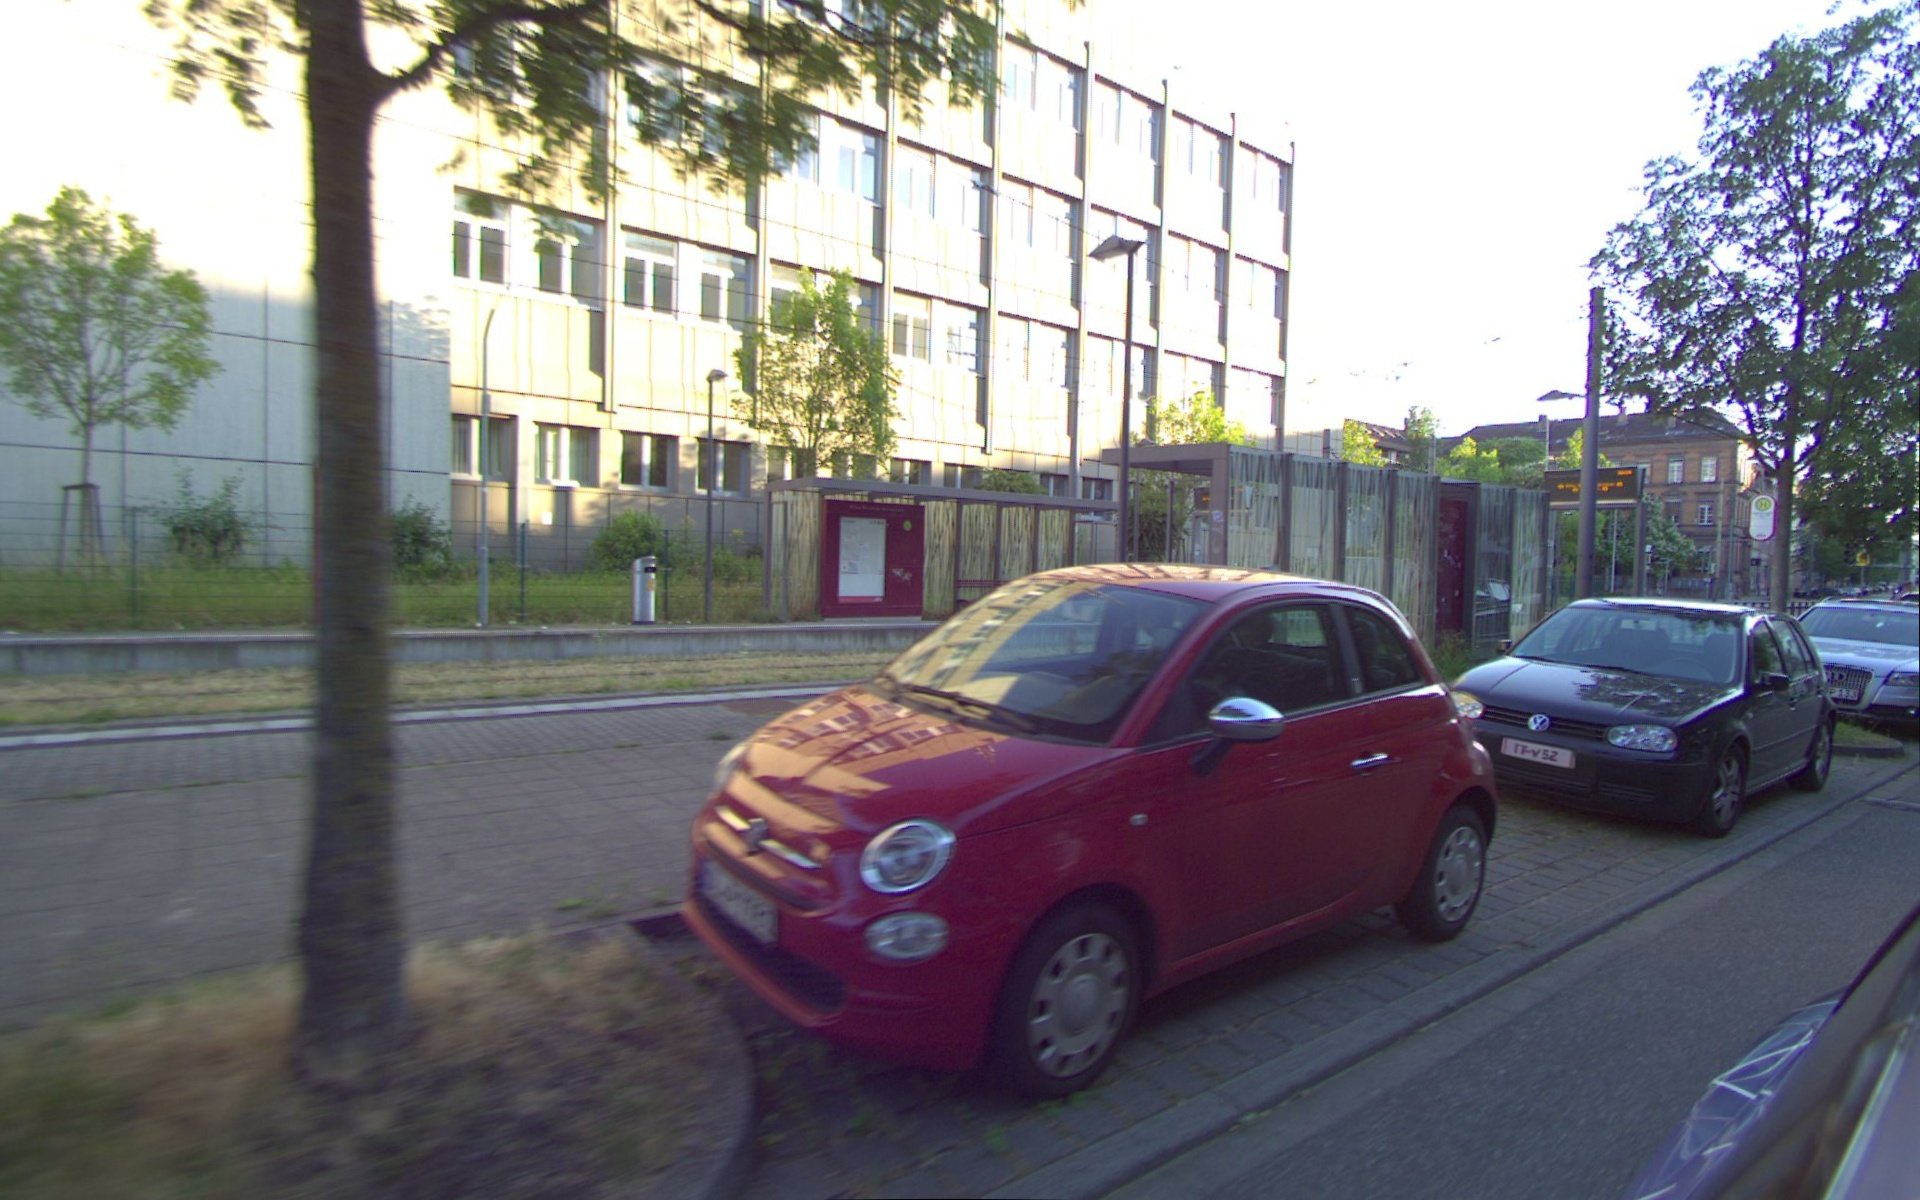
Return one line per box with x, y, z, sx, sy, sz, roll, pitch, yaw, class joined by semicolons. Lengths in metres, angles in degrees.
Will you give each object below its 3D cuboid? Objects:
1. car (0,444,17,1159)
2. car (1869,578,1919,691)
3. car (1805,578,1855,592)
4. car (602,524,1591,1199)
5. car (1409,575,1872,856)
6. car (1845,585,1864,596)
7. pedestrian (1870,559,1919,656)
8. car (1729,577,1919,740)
-3.514;0.517;0.413;4.396;1.599;1.713;0;4;-37;car
16.174;0.533;16.184;4.190;1.663;1.712;-1;4;-39;car
108.372;-1.893;126.085;4.686;1.504;1.879;3;3;41;car
0.847;0.533;4.196;4.056;1.511;1.712;-1;5;-39;car
5.169;0.607;7.504;3.928;1.469;1.712;-1;5;-39;car
125.808;-1.393;142.382;1.779;1.475;4.235;3;3;40;car
20.471;0.152;21.770;0.963;2.038;0.807;2;2;7;pedestrian
11.171;0.579;12.134;4.692;1.513;1.803;0;6;-37;car
